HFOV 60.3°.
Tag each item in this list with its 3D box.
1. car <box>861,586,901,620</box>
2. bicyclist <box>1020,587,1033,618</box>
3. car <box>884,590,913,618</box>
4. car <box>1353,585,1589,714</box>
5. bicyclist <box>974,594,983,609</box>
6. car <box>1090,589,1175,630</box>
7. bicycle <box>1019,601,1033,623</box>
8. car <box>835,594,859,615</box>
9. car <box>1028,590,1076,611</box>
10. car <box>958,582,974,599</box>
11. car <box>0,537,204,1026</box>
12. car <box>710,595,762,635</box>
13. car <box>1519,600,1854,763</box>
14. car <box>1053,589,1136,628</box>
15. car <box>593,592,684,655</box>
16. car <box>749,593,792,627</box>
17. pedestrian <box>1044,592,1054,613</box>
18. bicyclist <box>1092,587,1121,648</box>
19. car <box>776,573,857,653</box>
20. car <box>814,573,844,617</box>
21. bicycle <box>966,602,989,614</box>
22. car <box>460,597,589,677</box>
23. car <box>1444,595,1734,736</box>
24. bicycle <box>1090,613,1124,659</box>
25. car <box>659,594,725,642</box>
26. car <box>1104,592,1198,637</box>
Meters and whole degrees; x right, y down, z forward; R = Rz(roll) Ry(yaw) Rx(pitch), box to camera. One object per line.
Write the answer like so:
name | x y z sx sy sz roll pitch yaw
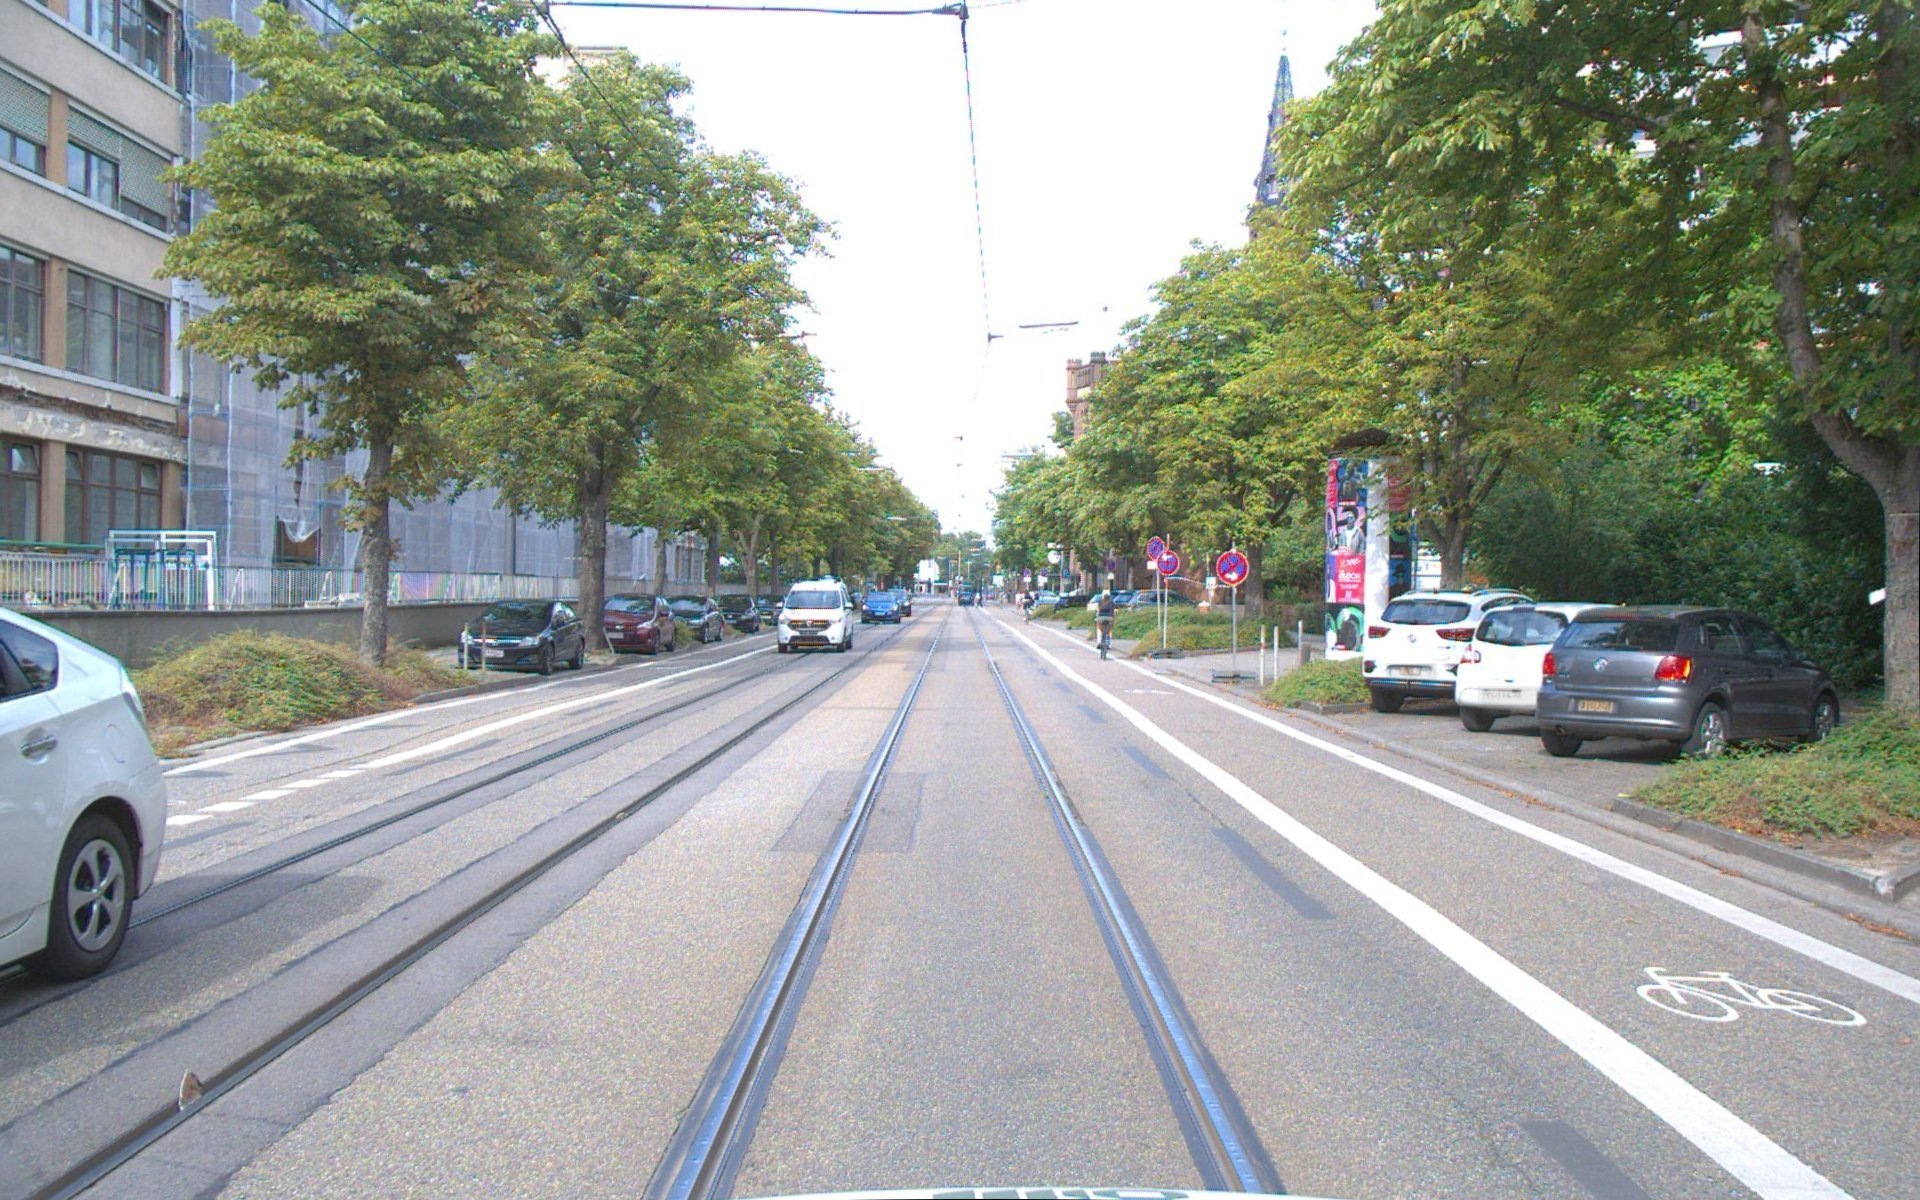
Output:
car | -3.701 0.129 78.361 1.697 1.522 4.378 0 1 0
bicyclist | 3.344 0.124 83.300 0.645 1.522 0.929 1 0 0
car | -3.788 0.222 103.111 1.697 1.657 4.377 -1 0 -1
car | 7.048 0.635 22.646 1.654 1.630 3.621 0 0 44
bicyclist | 1.855 0.178 167.895 0.828 1.531 0.769 1 0 8
car | 7.151 0.408 68.490 1.654 1.630 3.621 0 0 44
bicycle | 3.333 0.604 83.300 0.650 1.062 1.841 1 0 0
car | -8.119 0.307 118.842 1.558 1.427 3.961 1 0 -2
car | 8.078 0.043 144.870 3.910 1.722 1.998 1 0 -6
car | 0.669 -1.077 186.928 1.758 1.855 4.677 1 0 -1
car | -4.069 0.613 4.887 1.697 1.640 4.334 0 0 0
car | -8.410 0.542 62.288 1.558 1.427 3.961 1 0 -2
car | 7.305 0.743 16.506 3.612 1.444 1.658 1 0 -40
car | 5.763 0.373 70.616 1.654 1.630 3.621 0 0 44
car | -8.263 0.566 42.777 1.602 1.522 3.962 1 0 -1
car | -8.291 0.437 72.589 1.558 1.427 3.961 1 0 -2
pedestrian | 7.768 0.254 144.870 0.732 1.821 0.731 1 -1 15
bicyclist | 3.596 0.427 40.579 0.581 1.485 0.875 1 0 -2
car | -3.648 0.305 42.763 1.697 1.917 4.378 1 0 0
car | -8.395 -0.333 106.354 1.686 2.751 5.468 1 0 -2
bicycle | 1.801 0.836 167.908 2.226 1.210 0.769 1 0 7
car | -8.380 0.677 32.117 1.558 1.427 3.961 1 0 -2
car | 7.436 0.719 19.435 3.612 1.500 1.658 1 0 -40
bicycle | 3.589 0.867 40.482 0.581 1.062 1.977 1 0 -2
car | -8.379 0.538 51.976 1.558 1.427 3.961 1 0 -2
car | 7.151 0.529 61.691 1.654 1.630 3.621 0 0 44
